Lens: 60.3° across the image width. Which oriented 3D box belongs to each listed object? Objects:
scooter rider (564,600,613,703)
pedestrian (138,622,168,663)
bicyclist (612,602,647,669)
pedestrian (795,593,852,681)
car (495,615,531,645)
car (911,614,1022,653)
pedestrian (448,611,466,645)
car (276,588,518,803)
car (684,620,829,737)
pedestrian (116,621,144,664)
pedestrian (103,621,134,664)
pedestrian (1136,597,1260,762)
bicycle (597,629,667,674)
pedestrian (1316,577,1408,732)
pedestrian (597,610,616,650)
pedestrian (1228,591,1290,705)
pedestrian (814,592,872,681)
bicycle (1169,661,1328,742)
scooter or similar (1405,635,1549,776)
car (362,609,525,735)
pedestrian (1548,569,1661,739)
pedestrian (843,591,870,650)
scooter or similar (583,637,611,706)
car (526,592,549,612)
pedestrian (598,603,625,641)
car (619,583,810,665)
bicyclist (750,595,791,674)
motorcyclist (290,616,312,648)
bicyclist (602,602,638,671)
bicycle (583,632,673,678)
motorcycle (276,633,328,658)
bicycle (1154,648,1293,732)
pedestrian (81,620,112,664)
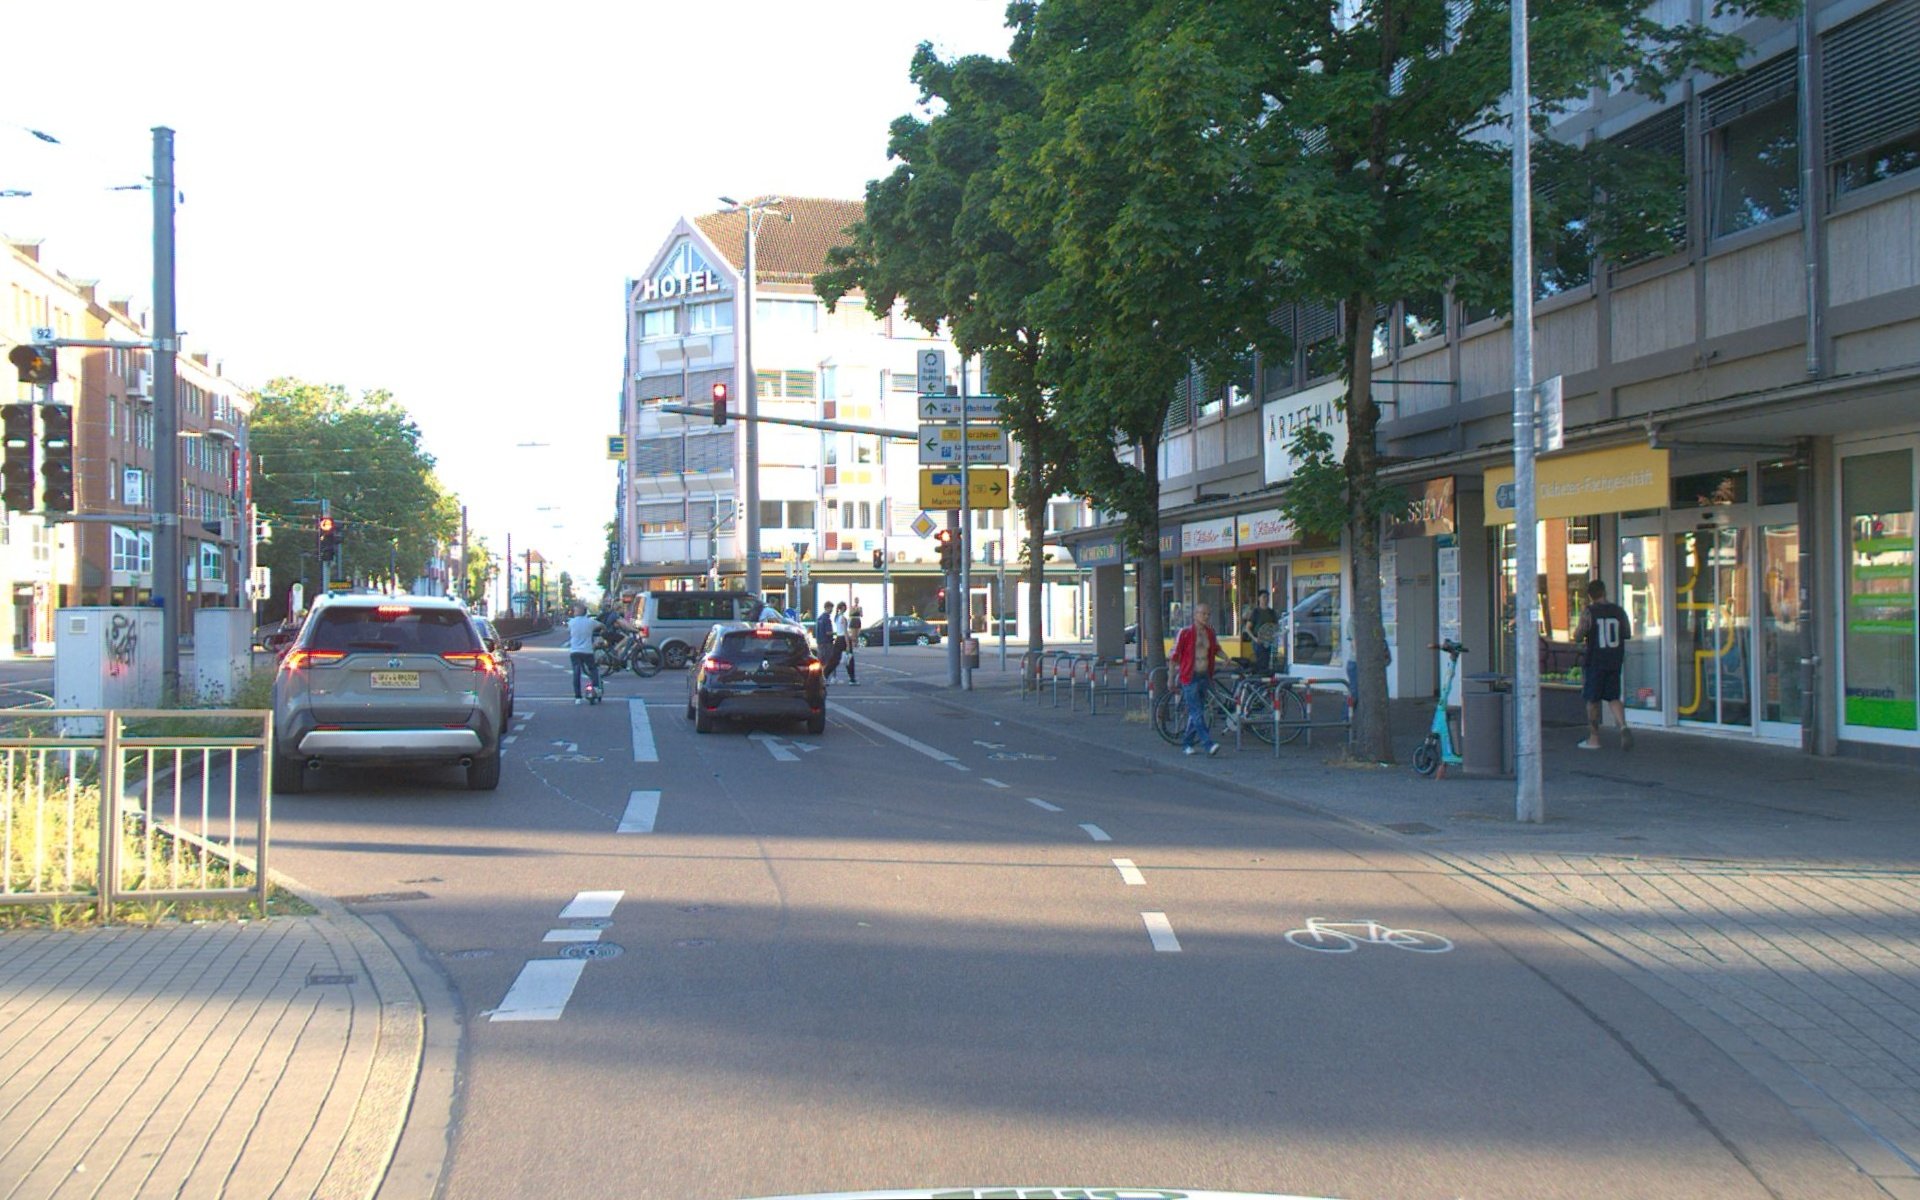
[{"bbox_3d":[-6.129,0.842,27.311,0.649,1.676,0.660,1,-1,-4],"label":"scooter rider"},{"bbox_3d":[-40.722,2.127,83.477,1.075,2.049,1.158,1,-1,-15],"label":"pedestrian"},{"bbox_3d":[-7.836,0.833,39.219,0.693,1.537,0.547,-2,0,-17],"label":"bicyclist"},{"bbox_3d":[-2.971,0.805,35.931,0.985,1.862,0.720,2,-2,-33],"label":"pedestrian"},{"bbox_3d":[-26.908,1.798,99.666,1.779,1.777,3.704,1,-1,-11],"label":"car"},{"bbox_3d":[0.277,1.465,72.049,4.477,1.649,1.989,1,-1,-16],"label":"car"},{"bbox_3d":[-25.037,1.395,82.334,0.688,1.693,0.806,1,-1,-11],"label":"pedestrian"},{"bbox_3d":[-5.183,0.757,15.053,1.809,1.665,4.064,1,0,-21],"label":"car"},{"bbox_3d":[-2.921,1.024,23.068,1.733,1.465,3.989,0,-1,-11],"label":"car"},{"bbox_3d":[-39.639,2.038,78.963,0.960,2.049,0.905,1,-1,-15],"label":"pedestrian"},{"bbox_3d":[-40.585,2.057,79.788,1.075,2.049,0.905,1,-1,-15],"label":"pedestrian"},{"bbox_3d":[2.553,0.835,17.797,0.818,1.714,1.034,2,-2,-39],"label":"pedestrian"},{"bbox_3d":[-7.782,1.219,39.230,1.587,1.046,0.351,0,-1,-20],"label":"bicycle"},{"bbox_3d":[4.847,0.656,19.972,0.733,1.810,0.970,1,-2,-11],"label":"pedestrian"},{"bbox_3d":[-19.825,1.697,92.756,0.916,2.235,0.849,1,-1,-15],"label":"pedestrian"},{"bbox_3d":[4.831,0.770,26.730,0.733,1.810,0.798,1,-2,-12],"label":"pedestrian"},{"bbox_3d":[-2.505,0.784,35.423,0.986,1.862,0.720,2,-2,-34],"label":"pedestrian"},{"bbox_3d":[3.357,1.182,19.267,1.782,0.907,0.414,1,-1,-6],"label":"bicycle"},{"bbox_3d":[4.684,0.954,15.011,1.195,1.239,0.293,-2,-3,34],"label":"scooter or similar"},{"bbox_3d":[-6.717,0.876,21.894,1.715,1.486,4.394,1,-1,-13],"label":"car"},{"bbox_3d":[6.700,0.556,17.226,0.733,1.713,0.892,1,-2,-11],"label":"pedestrian"},{"bbox_3d":[-3.239,0.649,51.936,0.733,1.810,0.798,1,-2,-10],"label":"pedestrian"},{"bbox_3d":[-6.006,1.164,27.386,0.274,1.110,1.255,1,-1,-6],"label":"scooter or similar"},{"bbox_3d":[-41.966,0.197,164.235,1.958,1.934,3.988,1,-1,-11],"label":"car"},{"bbox_3d":[-16.404,1.041,77.858,0.835,1.756,0.931,0,-2,37],"label":"pedestrian"},{"bbox_3d":[-6.485,0.602,43.781,4.629,2.049,1.982,-1,0,-28],"label":"car"},{"bbox_3d":[-4.650,0.837,40.535,0.847,1.911,0.643,1,-1,-19],"label":"bicyclist"},{"bbox_3d":[-25.414,1.238,63.765,0.693,1.242,0.784,1,-1,-18],"label":"motorcyclist"},{"bbox_3d":[-7.876,0.842,38.319,0.693,1.537,0.547,-2,0,-19],"label":"bicyclist"},{"bbox_3d":[-7.689,1.260,38.341,2.004,1.046,0.415,0,-1,-18],"label":"bicycle"},{"bbox_3d":[-25.388,1.768,63.795,1.804,0.924,0.430,1,-1,-17],"label":"motorcycle"},{"bbox_3d":[3.218,1.095,20.231,1.625,0.991,0.386,1,-1,-6],"label":"bicycle"},{"bbox_3d":[-40.963,2.000,78.445,1.075,2.049,0.905,1,-1,-15],"label":"pedestrian"}]
